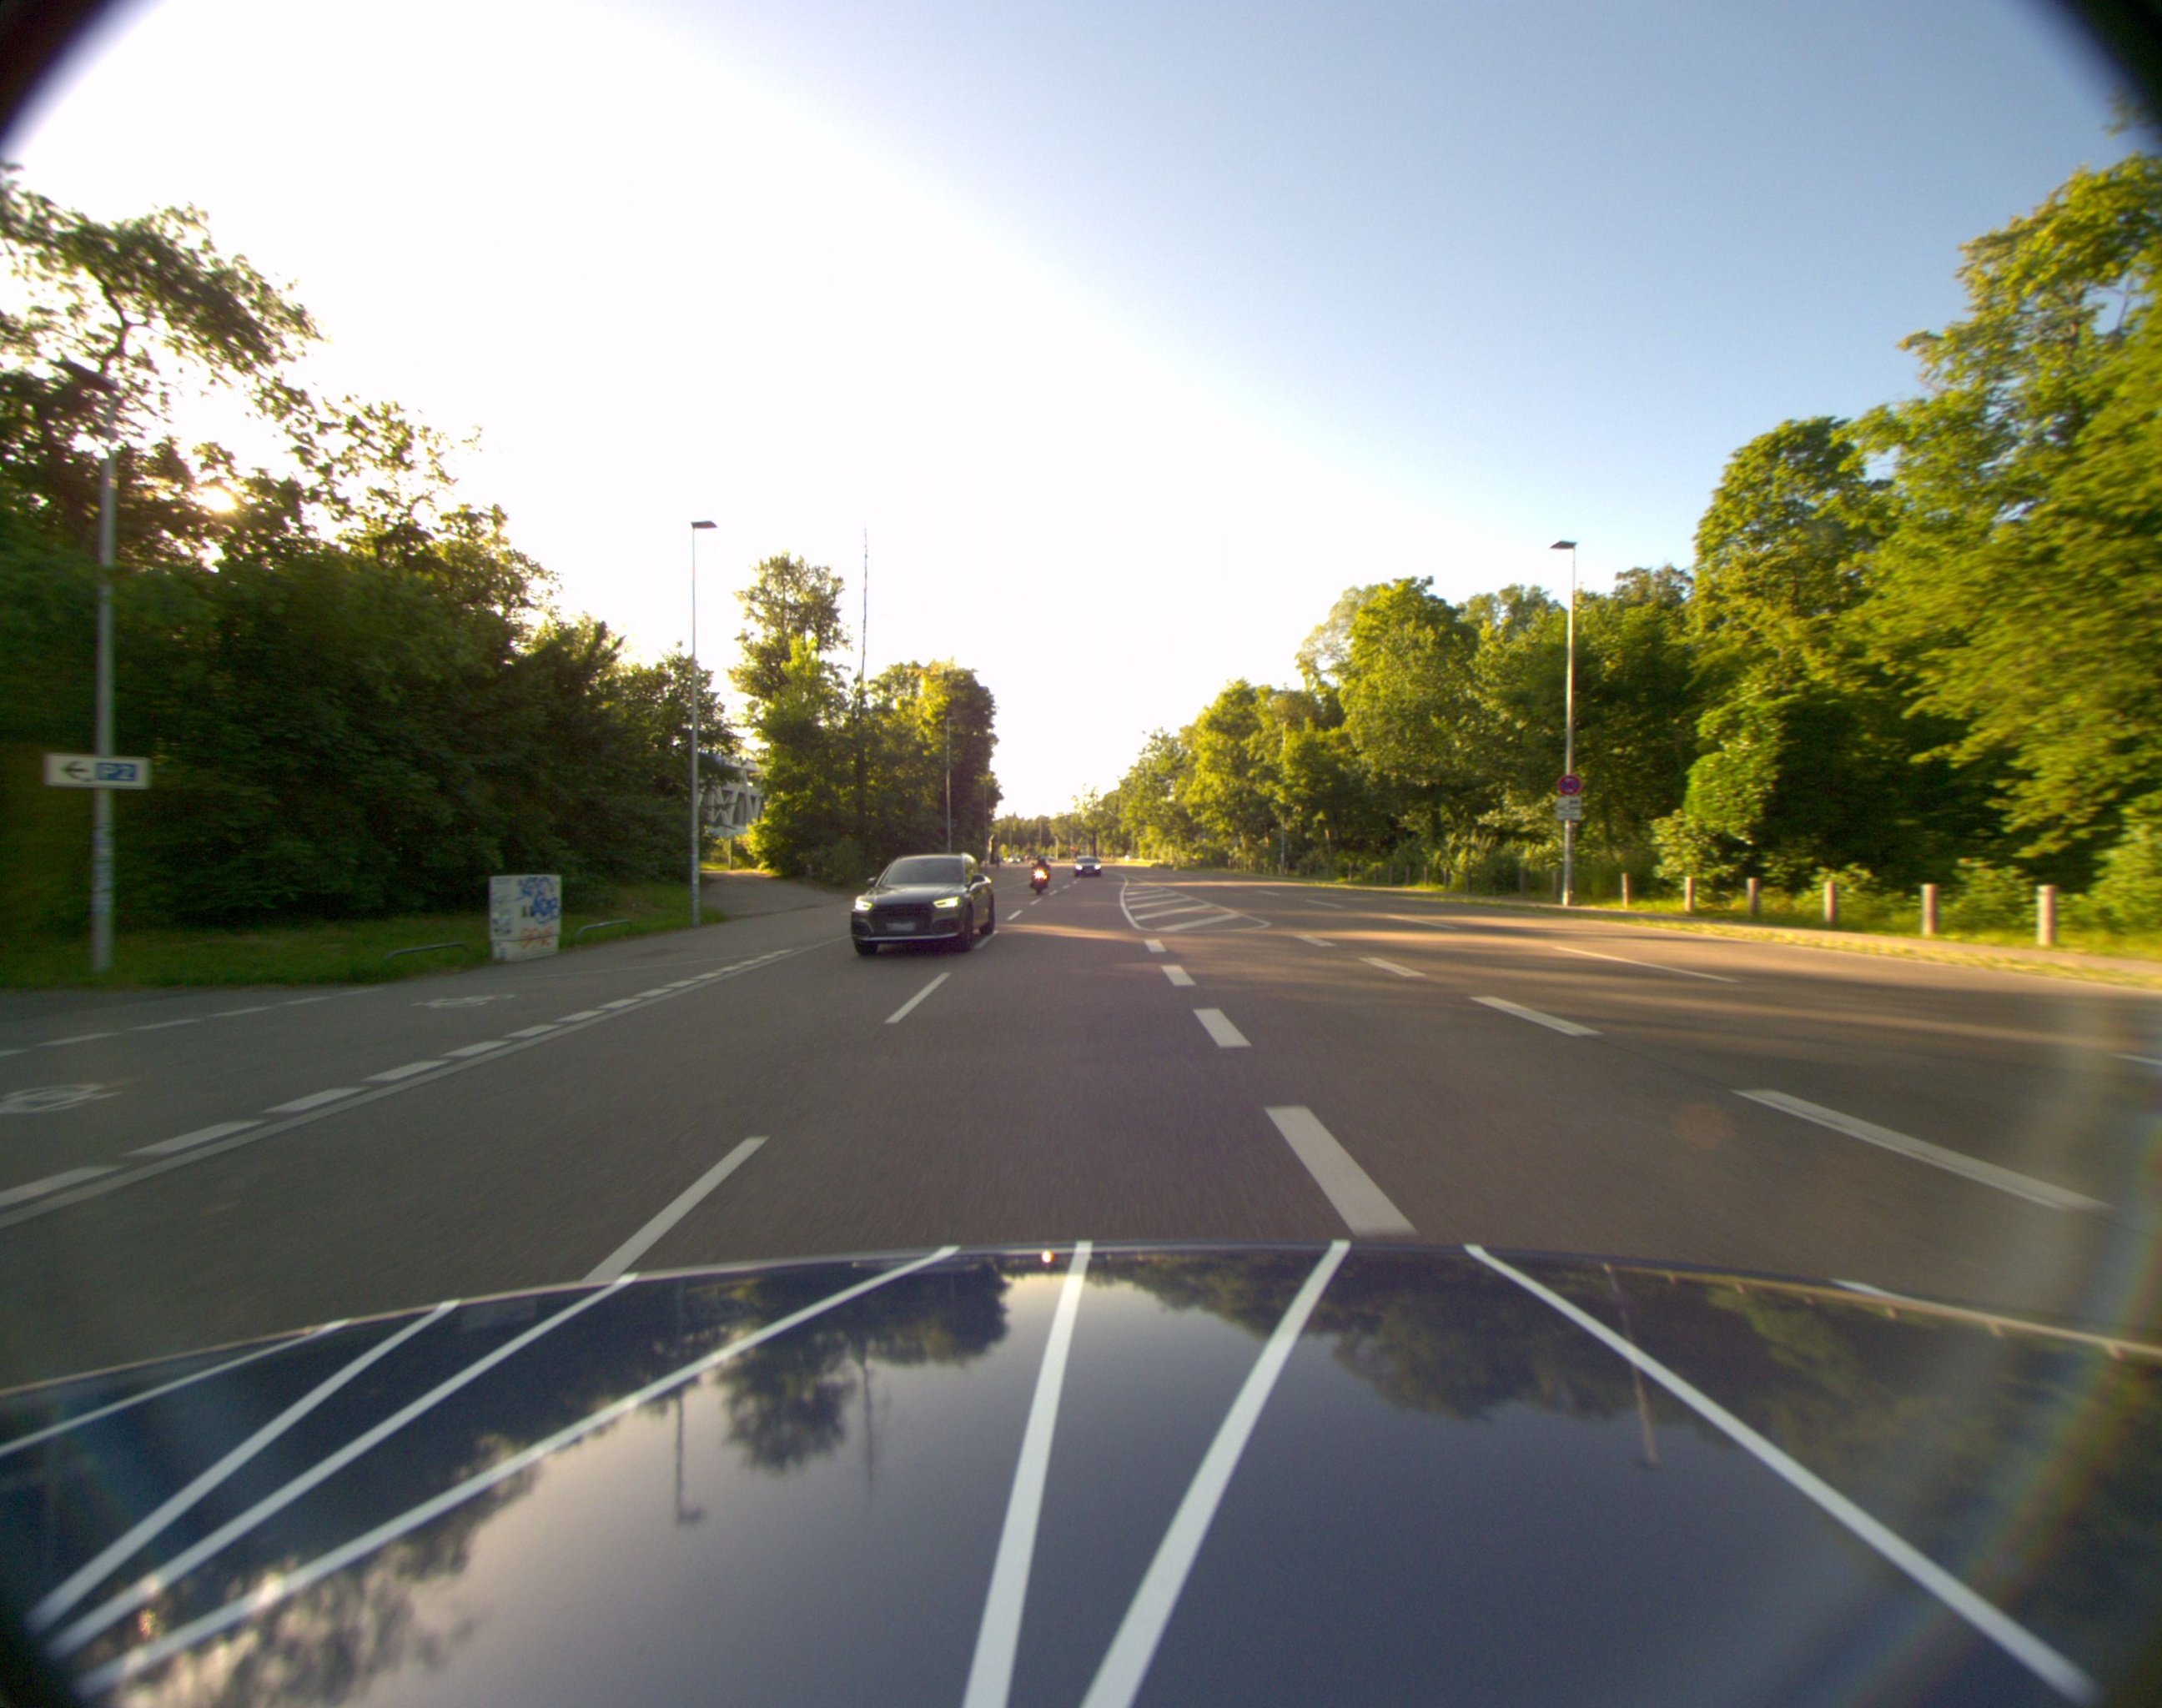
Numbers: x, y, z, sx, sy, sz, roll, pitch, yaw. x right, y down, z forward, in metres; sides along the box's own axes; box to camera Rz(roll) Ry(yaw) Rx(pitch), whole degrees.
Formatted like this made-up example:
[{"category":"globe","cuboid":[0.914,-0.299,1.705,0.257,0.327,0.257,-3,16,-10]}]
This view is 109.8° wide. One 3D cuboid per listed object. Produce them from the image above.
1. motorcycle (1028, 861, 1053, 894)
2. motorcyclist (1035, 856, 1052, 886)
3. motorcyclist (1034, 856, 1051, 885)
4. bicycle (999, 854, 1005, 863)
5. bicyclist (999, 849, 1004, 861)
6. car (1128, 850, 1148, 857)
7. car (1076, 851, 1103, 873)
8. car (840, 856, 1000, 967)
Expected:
[{"category":"motorcycle","cuboid":[-1.712,0.962,32.519,0.916,1.243,2.962,-2,1,-1]},{"category":"motorcyclist","cuboid":[-1.611,0.723,32.516,0.671,1.257,0.825,-2,1,-4]},{"category":"motorcyclist","cuboid":[-1.686,0.715,33.357,0.671,1.257,0.825,-2,1,-4]},{"category":"bicycle","cuboid":[-9.567,0.561,92.309,0.556,1.130,1.862,0,1,-12]},{"category":"bicyclist","cuboid":[-9.642,0.132,92.172,0.522,1.460,0.860,-1,1,-12]},{"category":"car","cuboid":[13.441,-0.089,178.969,4.301,1.504,1.838,-1,1,-10]},{"category":"car","cuboid":[0.665,0.567,56.268,1.867,1.538,4.796,-1,0,2]},{"category":"car","cuboid":[-2.719,0.900,13.996,1.898,1.596,4.544,-2,1,0]}]
